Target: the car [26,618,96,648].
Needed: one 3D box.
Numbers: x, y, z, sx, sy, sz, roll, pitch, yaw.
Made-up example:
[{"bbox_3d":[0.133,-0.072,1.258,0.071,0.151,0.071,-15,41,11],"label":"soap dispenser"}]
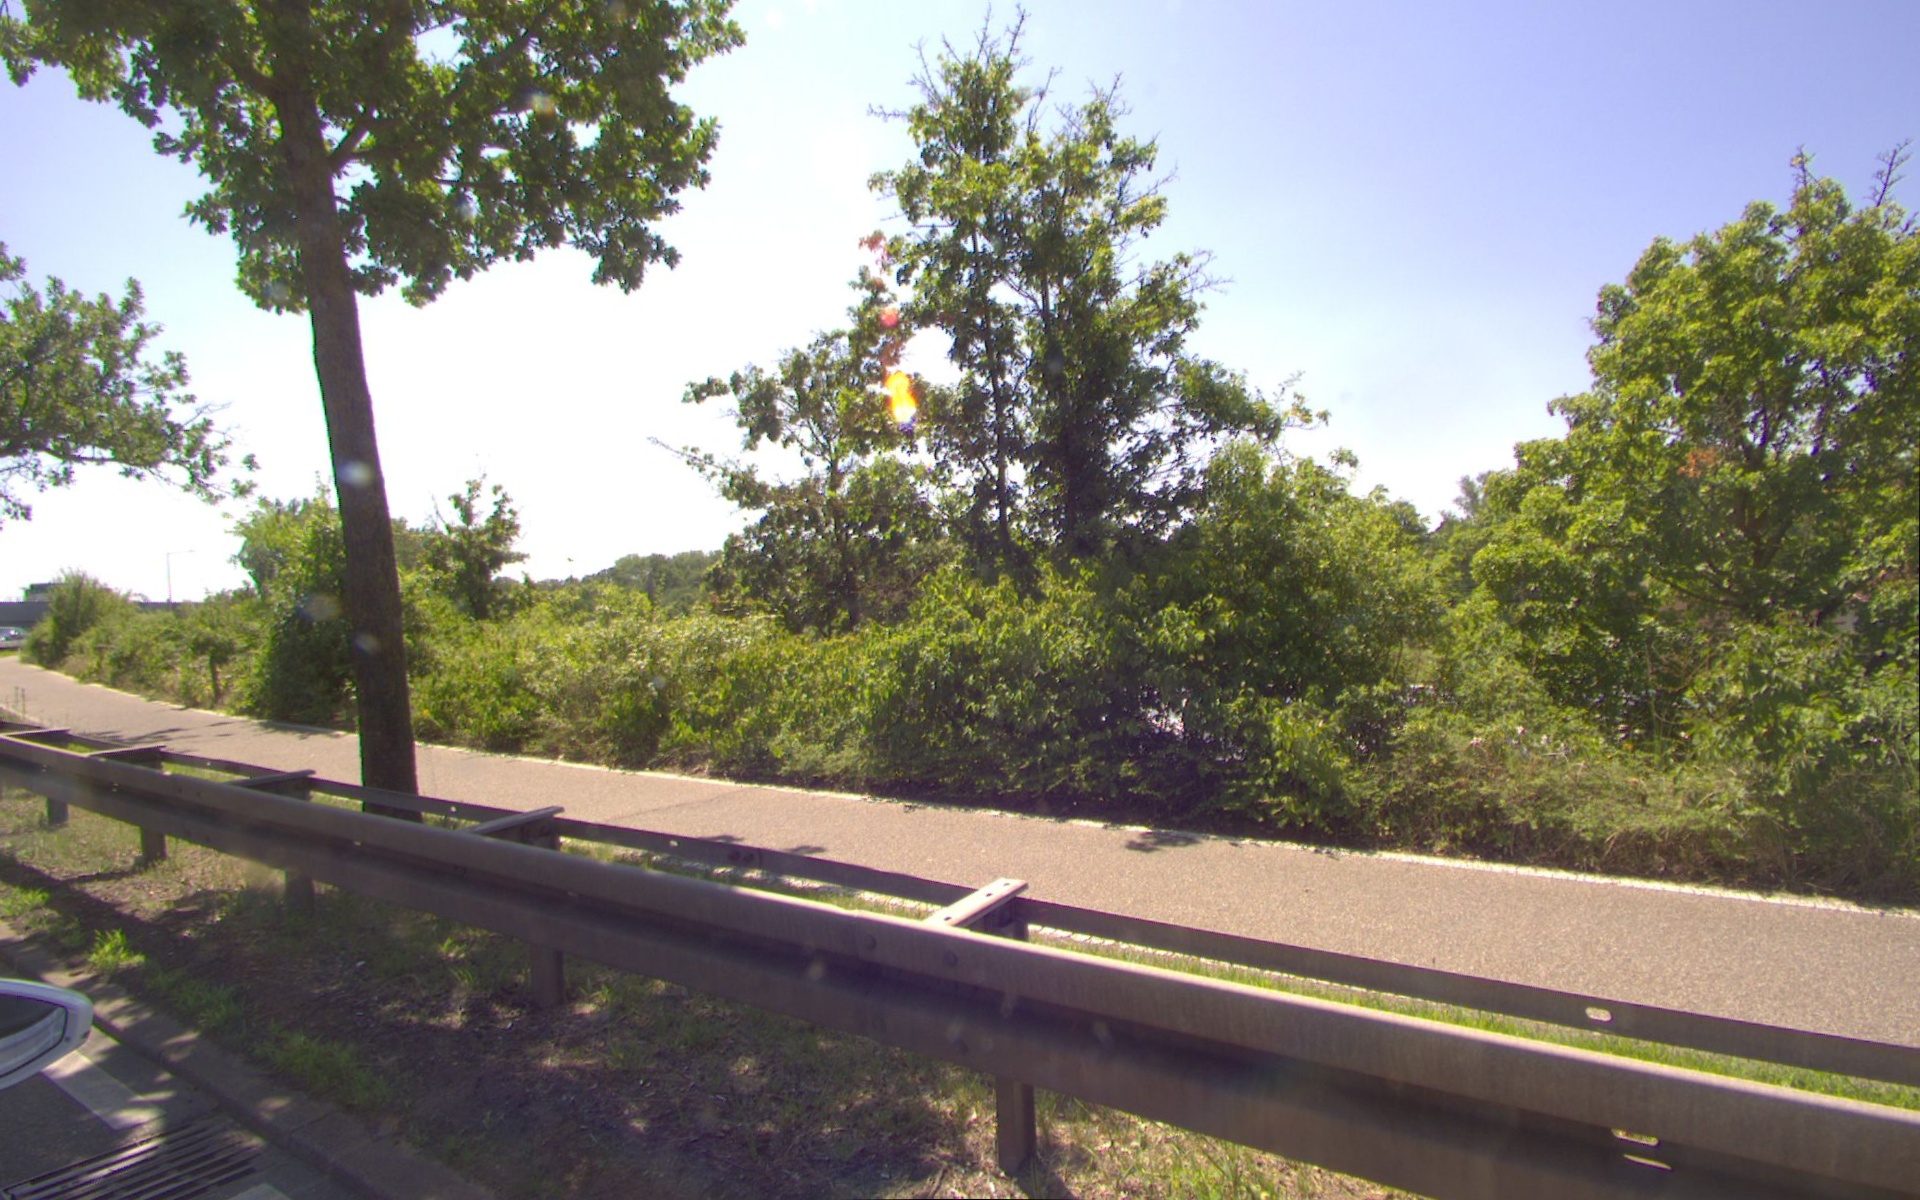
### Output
[{"bbox_3d":[-55.001,2.029,61.357,1.970,1.734,4.602,1,-2,-27],"label":"car"}]
